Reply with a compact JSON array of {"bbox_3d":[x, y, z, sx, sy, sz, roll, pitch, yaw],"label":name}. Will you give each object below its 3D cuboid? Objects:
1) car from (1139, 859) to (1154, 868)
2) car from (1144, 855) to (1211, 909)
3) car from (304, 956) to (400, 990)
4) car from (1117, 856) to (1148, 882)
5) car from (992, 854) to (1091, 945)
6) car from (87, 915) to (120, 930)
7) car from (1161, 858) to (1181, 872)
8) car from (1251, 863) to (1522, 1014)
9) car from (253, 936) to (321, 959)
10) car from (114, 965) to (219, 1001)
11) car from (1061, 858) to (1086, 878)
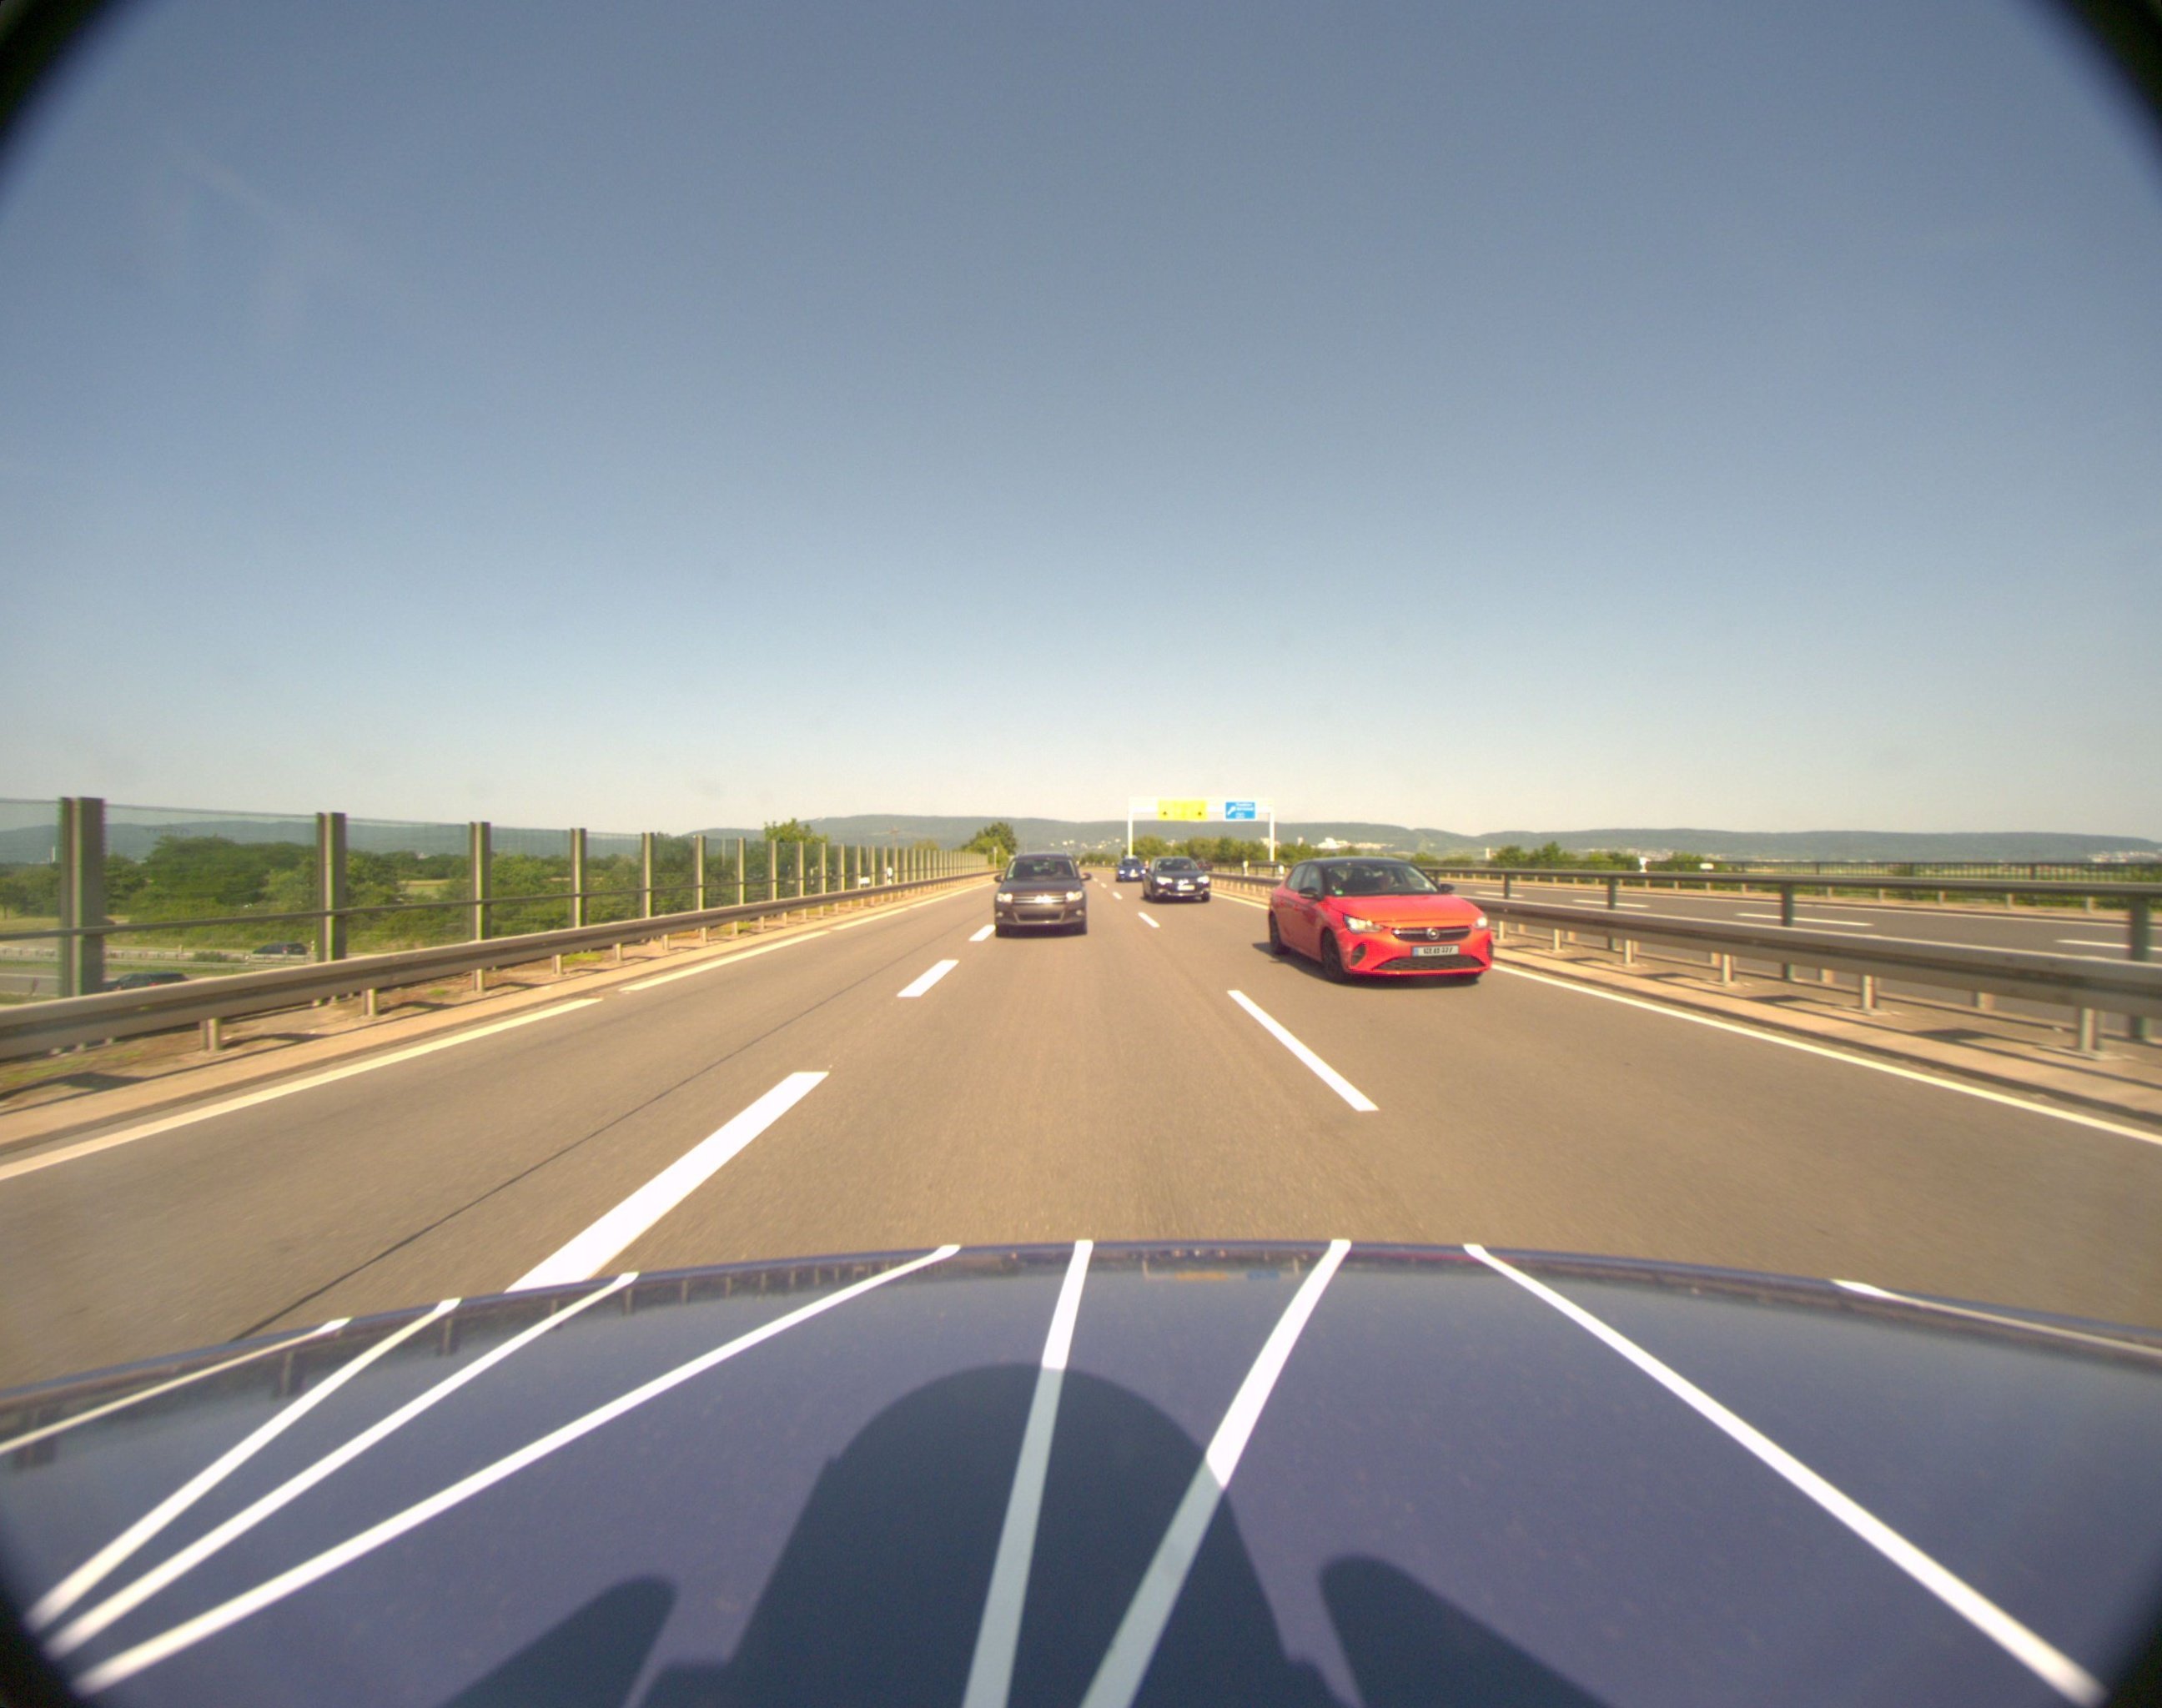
[{"bbox_3d":[10.849,1.568,126.099,1.829,1.420,4.530,-2,0,-3],"label":"car"},{"bbox_3d":[3.120,0.855,25.283,1.788,1.524,4.375,-1,1,2],"label":"car"},{"bbox_3d":[-44.072,7.197,45.975,4.255,1.696,2.002,-2,0,10],"label":"car"},{"bbox_3d":[3.163,0.896,47.111,1.651,1.403,3.775,-2,1,1],"label":"car"},{"bbox_3d":[-0.716,0.863,16.210,1.790,1.637,4.148,-2,0,0],"label":"car"},{"bbox_3d":[-129.169,9.080,100.418,1.855,1.674,3.989,-2,0,-40],"label":"car"},{"bbox_3d":[9.596,1.146,81.319,1.556,1.408,3.668,-2,0,-1],"label":"car"},{"bbox_3d":[3.584,0.875,9.886,1.713,1.428,4.412,-2,0,0],"label":"car"},{"bbox_3d":[-69.018,8.133,66.064,4.255,1.696,2.002,-2,0,10],"label":"car"},{"bbox_3d":[-52.883,7.437,43.961,4.255,1.696,2.002,-2,0,10],"label":"car"},{"bbox_3d":[-0.497,0.931,52.378,1.600,1.241,4.000,-2,0,0],"label":"car"}]
